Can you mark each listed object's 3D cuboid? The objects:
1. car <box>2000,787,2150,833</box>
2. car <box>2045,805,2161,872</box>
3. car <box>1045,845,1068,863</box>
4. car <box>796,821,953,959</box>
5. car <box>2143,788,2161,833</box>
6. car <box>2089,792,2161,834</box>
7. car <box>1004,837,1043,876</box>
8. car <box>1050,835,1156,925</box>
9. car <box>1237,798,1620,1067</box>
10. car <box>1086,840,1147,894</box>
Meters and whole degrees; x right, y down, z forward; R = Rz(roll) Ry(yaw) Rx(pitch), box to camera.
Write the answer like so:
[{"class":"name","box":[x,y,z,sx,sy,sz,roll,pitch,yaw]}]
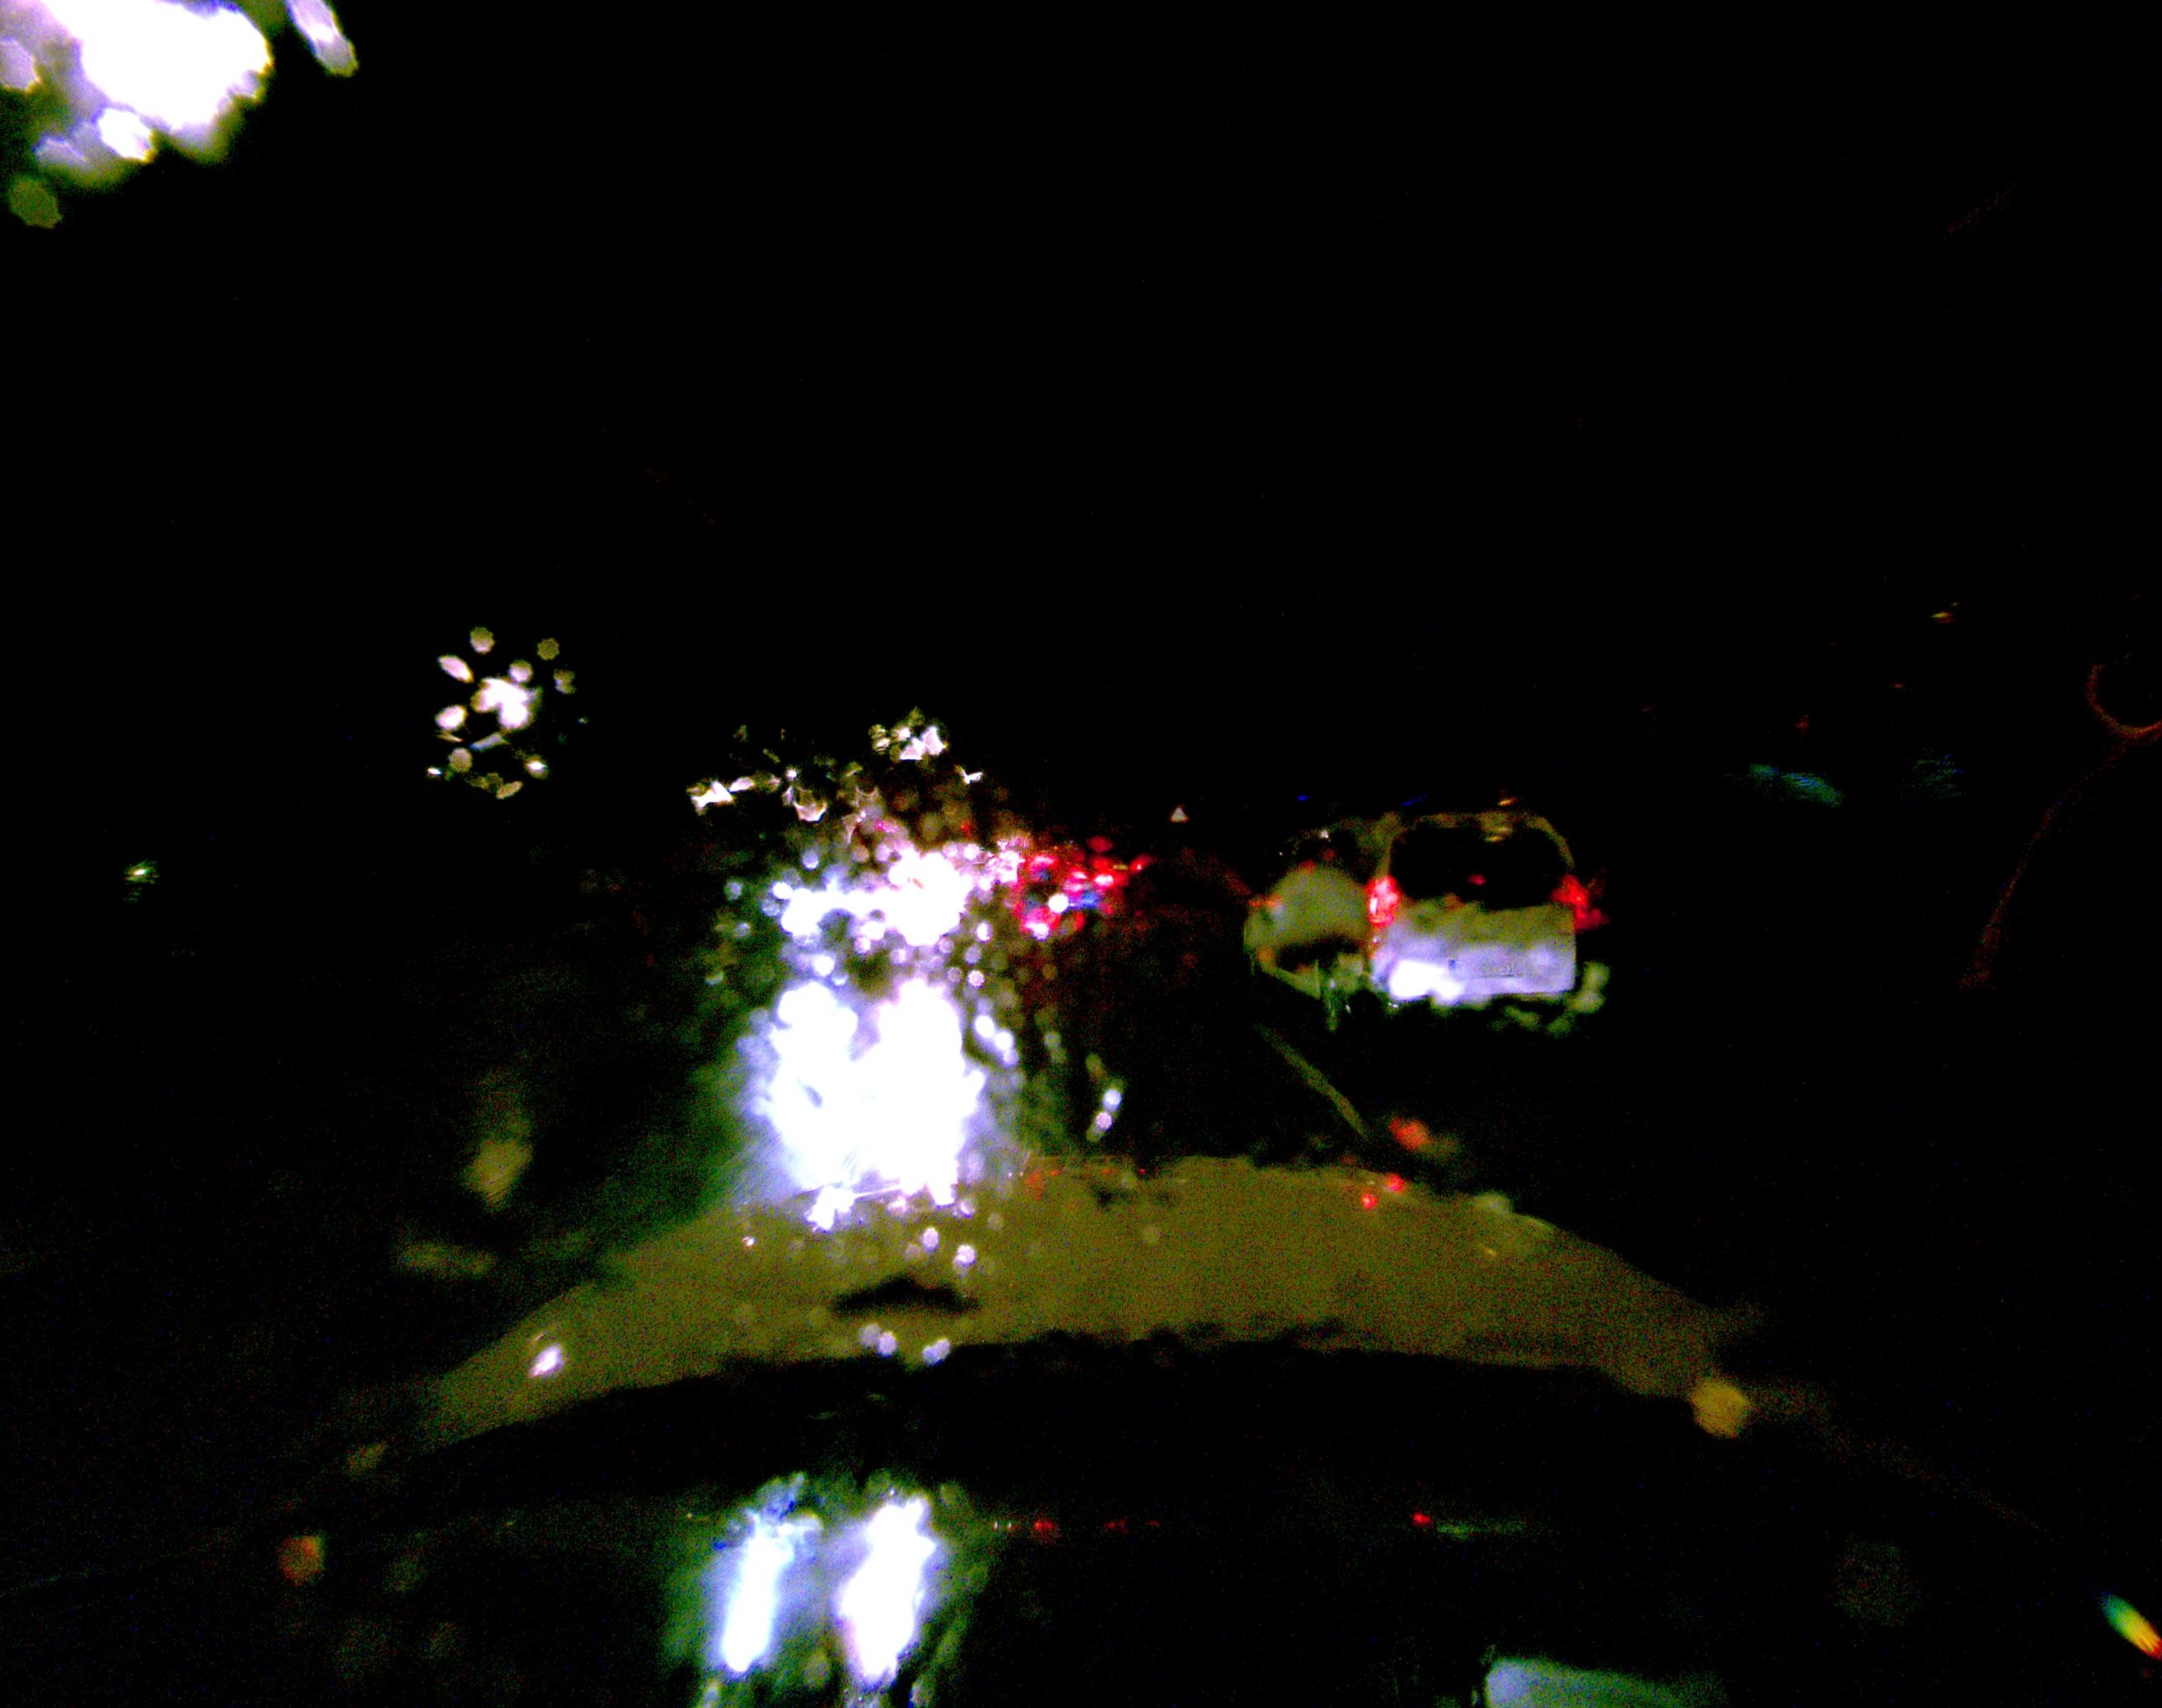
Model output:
[{"class":"car","box":[45.979,-1.981,37.805,3.953,2.013,2.010,0,0,20]},{"class":"car","box":[27.543,-0.423,20.777,1.851,1.646,3.979,-2,0,15]},{"class":"car","box":[-2.287,-0.041,77.527,1.986,1.634,4.002,0,1,2]},{"class":"car","box":[-3.187,0.468,13.468,2.013,1.887,4.440,0,1,-8]},{"class":"car","box":[51.059,-1.983,36.383,3.955,2.013,2.009,0,0,18]},{"class":"car","box":[46.242,-1.737,34.508,3.952,1.706,2.011,1,0,22]},{"class":"car","box":[-3.133,0.099,43.968,1.991,2.013,3.992,0,1,-6]},{"class":"car","box":[0.374,0.474,17.712,2.009,1.717,4.449,0,1,-1]},{"class":"car","box":[2.832,0.526,7.831,1.846,1.865,4.340,0,1,0]},{"class":"car","box":[1.371,0.467,32.909,1.965,2.046,3.994,0,1,-5]}]
